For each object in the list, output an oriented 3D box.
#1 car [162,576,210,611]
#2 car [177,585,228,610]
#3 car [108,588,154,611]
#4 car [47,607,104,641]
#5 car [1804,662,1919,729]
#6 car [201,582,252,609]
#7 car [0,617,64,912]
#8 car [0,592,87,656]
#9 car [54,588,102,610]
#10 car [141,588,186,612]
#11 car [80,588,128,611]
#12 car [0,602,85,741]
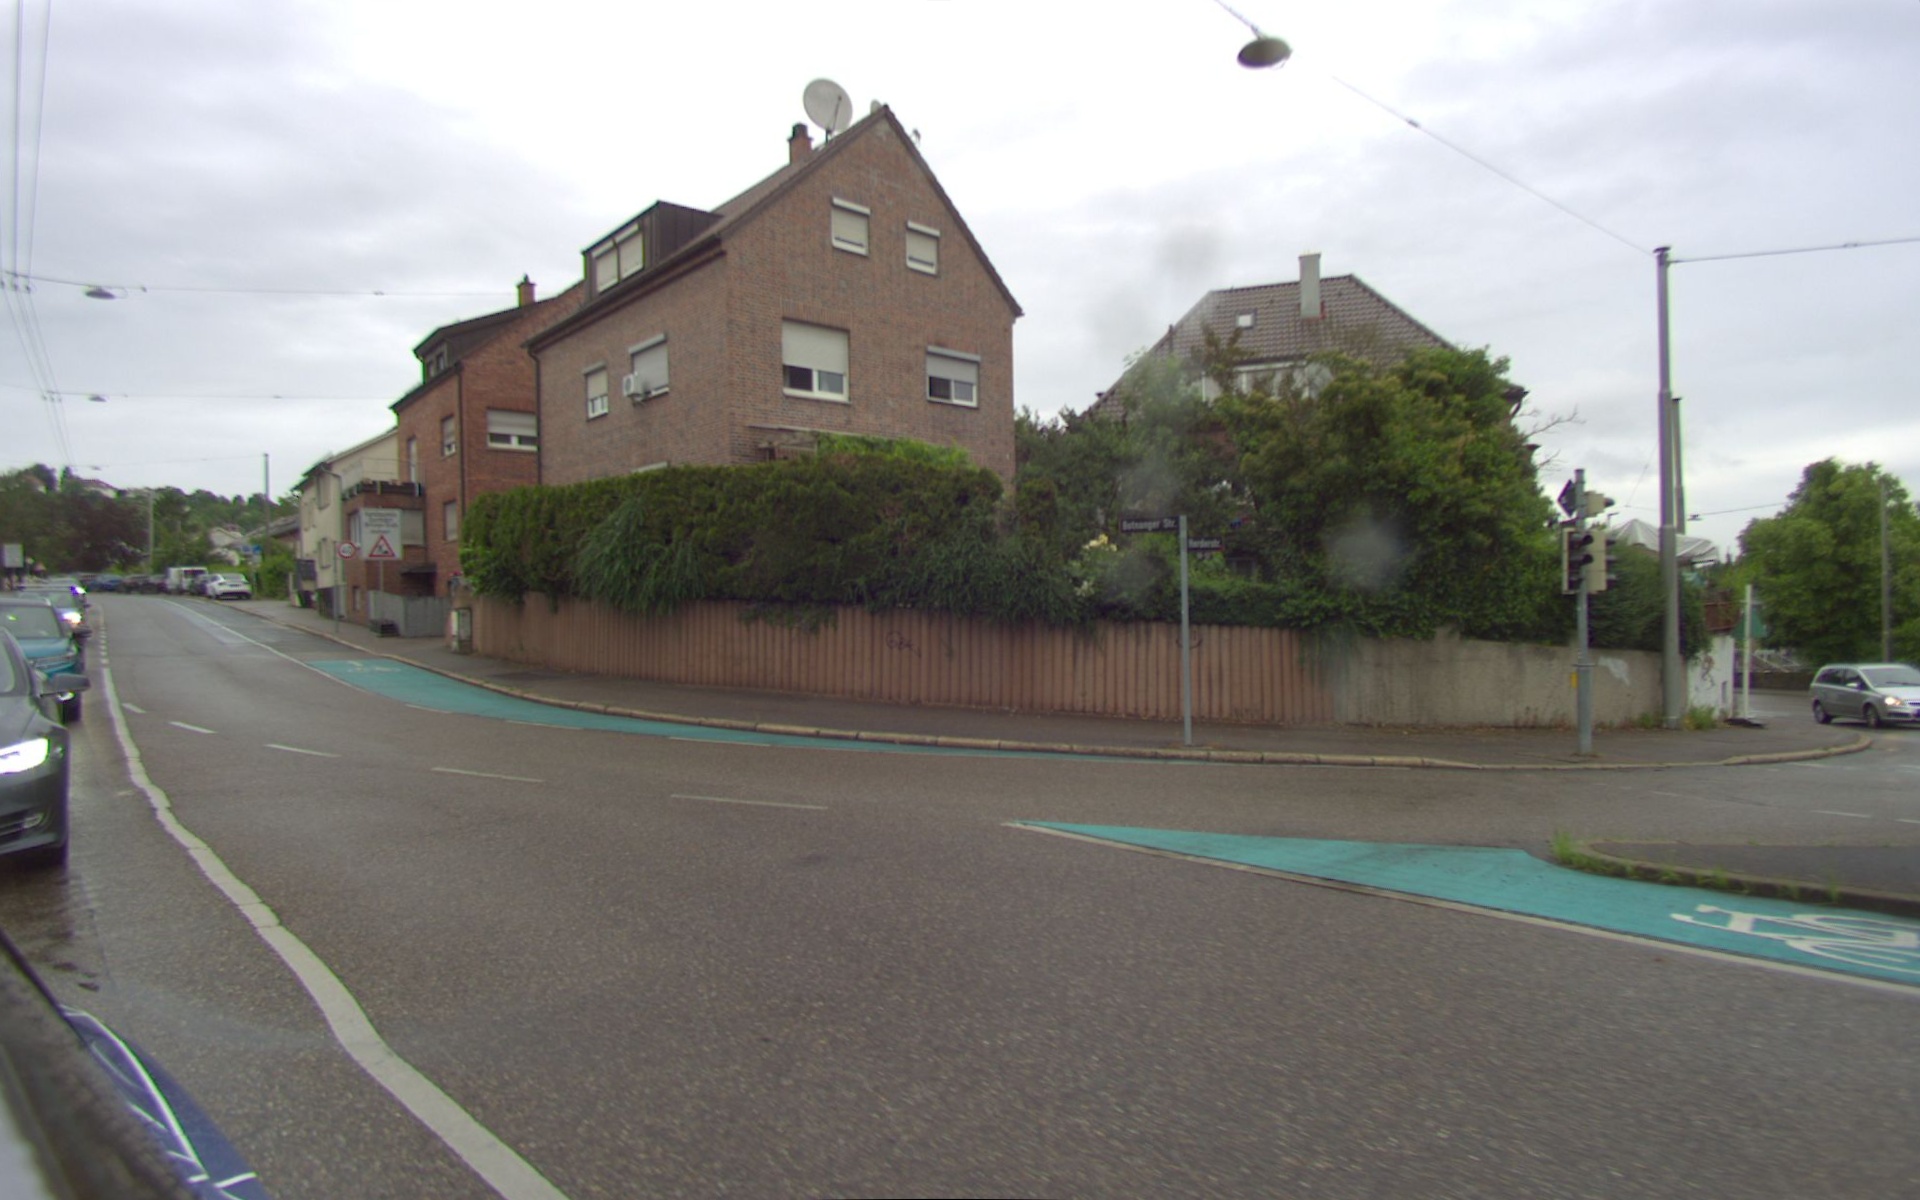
[{"bbox_3d":[-56.643,-0.448,74.047,4.449,2.475,1.985,-1,0,42],"label":"car"},{"bbox_3d":[-51.393,-0.133,68.644,4.449,1.622,1.924,-1,0,42],"label":"car"},{"bbox_3d":[-66.170,-0.050,80.750,4.313,1.772,1.753,-1,0,35],"label":"car"},{"bbox_3d":[-40.690,1.114,46.546,1.733,1.471,4.044,1,-2,-44],"label":"car"},{"bbox_3d":[23.791,2.426,25.970,1.703,1.597,4.432,-2,-5,19],"label":"car"},{"bbox_3d":[-46.605,-0.250,64.253,1.922,1.622,4.452,-1,0,-45],"label":"car"},{"bbox_3d":[-6.592,0.827,5.886,1.810,1.402,4.326,-1,0,-45],"label":"car"},{"bbox_3d":[-25.852,0.680,28.430,1.733,1.662,4.044,2,-2,-44],"label":"car"},{"bbox_3d":[-75.101,-0.114,86.179,4.305,1.772,1.756,-1,0,29],"label":"car"},{"bbox_3d":[-60.982,0.000,77.491,4.318,1.772,1.751,-1,0,38],"label":"car"},{"bbox_3d":[-70.791,-0.022,83.673,4.309,1.772,1.754,-1,0,32],"label":"car"},{"bbox_3d":[-12.838,0.873,13.223,4.043,1.622,1.776,-1,0,44],"label":"car"}]
